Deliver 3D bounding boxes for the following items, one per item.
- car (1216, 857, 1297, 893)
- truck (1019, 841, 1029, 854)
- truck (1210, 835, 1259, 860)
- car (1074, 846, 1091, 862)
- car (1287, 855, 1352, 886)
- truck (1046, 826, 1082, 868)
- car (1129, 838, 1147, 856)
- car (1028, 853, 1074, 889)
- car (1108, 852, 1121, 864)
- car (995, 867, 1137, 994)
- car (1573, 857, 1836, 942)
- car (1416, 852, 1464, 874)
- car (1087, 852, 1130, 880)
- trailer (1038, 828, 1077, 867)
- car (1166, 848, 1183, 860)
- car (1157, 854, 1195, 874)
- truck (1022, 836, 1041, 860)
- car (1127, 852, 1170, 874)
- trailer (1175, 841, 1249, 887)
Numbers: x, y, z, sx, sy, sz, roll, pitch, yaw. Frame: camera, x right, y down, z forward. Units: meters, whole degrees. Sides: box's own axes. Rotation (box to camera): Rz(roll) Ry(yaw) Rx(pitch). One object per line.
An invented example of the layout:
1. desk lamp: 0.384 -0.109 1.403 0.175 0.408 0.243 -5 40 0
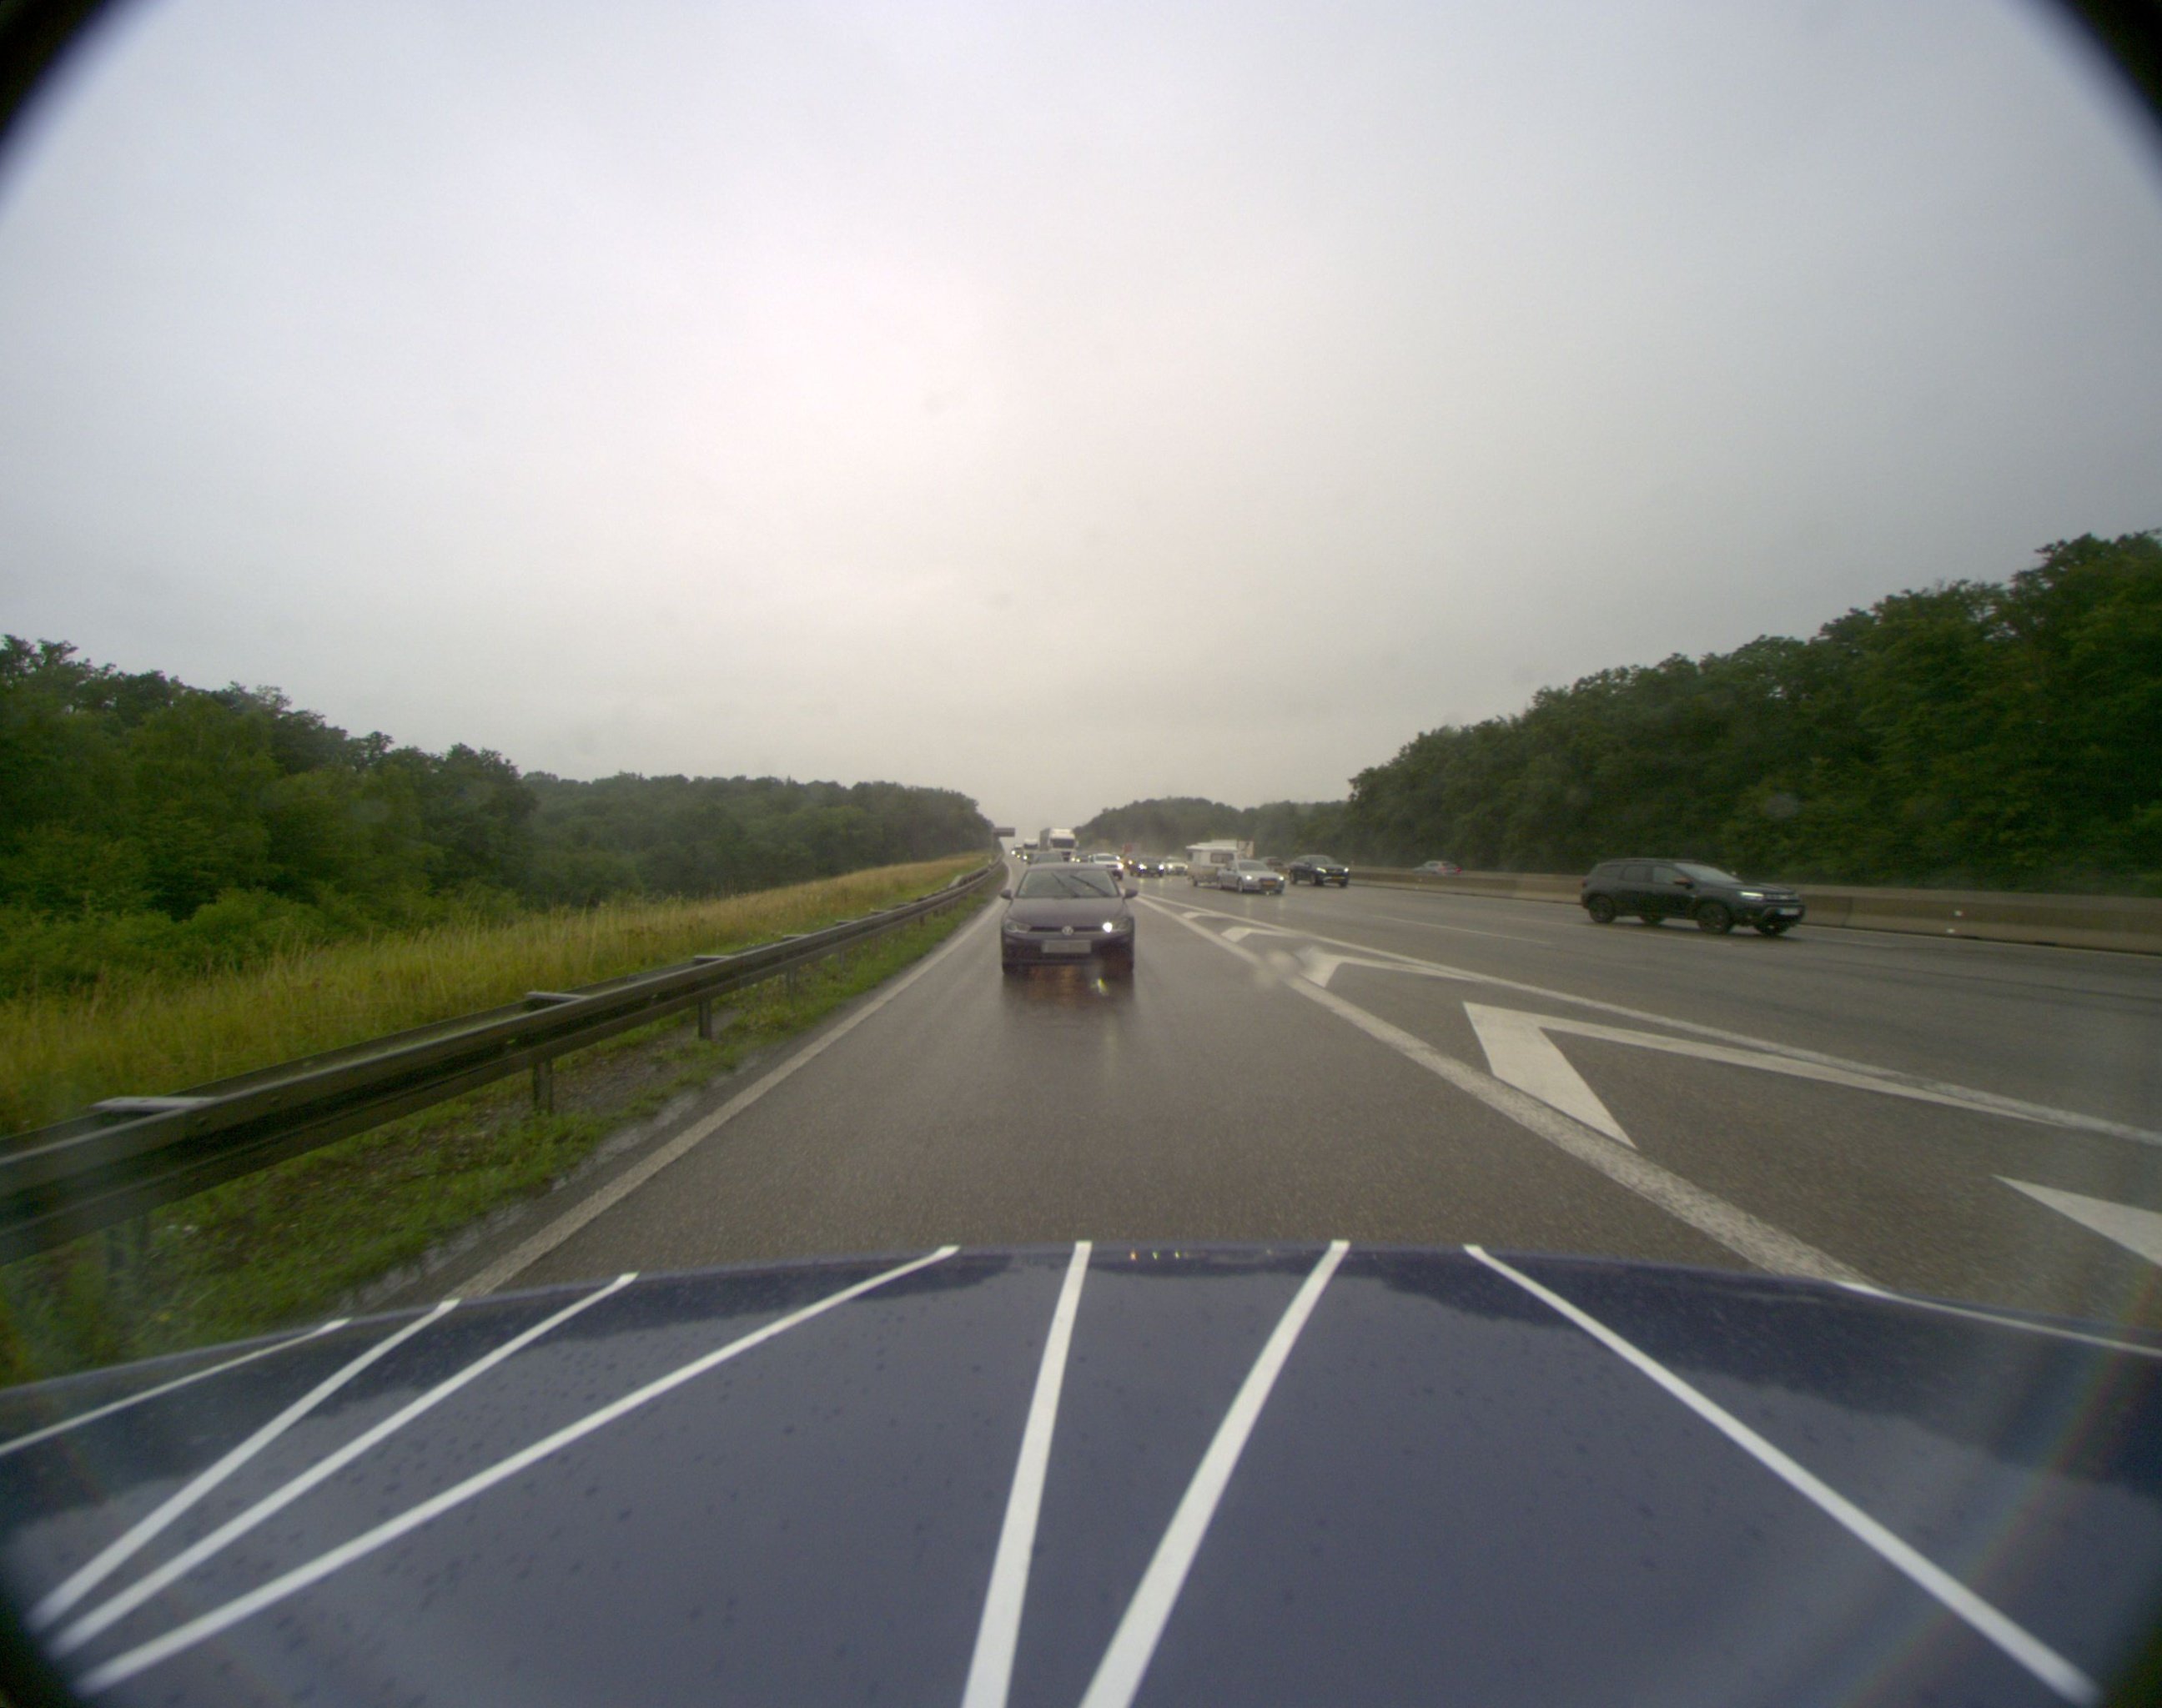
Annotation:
1. car: 7.495 0.861 32.963 1.852 1.340 4.578 2 0 -8
2. truck: -18.614 -2.064 248.086 2.597 4.120 5.230 -2 0 -1
3. truck: 23.795 -1.007 118.733 3.157 3.643 15.200 0 0 -6
4. car: 0.193 -0.011 93.764 1.816 2.002 3.998 0 0 -5
5. car: 13.628 0.902 43.623 1.710 1.566 4.521 2 0 -8
6. truck: -1.792 -0.699 76.397 2.882 4.029 5.930 1 0 -8
7. car: 15.466 -1.923 207.744 3.657 4.633 7.564 0 0 -6
8. car: -1.368 0.777 36.421 1.810 1.532 4.000 -3 0 2
9. car: 5.215 0.622 119.158 1.599 1.707 3.801 1 0 -4
10. car: -0.153 0.950 11.250 1.670 1.394 4.261 -2 0 1
11. car: 14.076 0.950 17.575 1.932 1.653 4.454 2 0 -11
12. car: 29.988 0.731 63.581 1.691 1.739 3.996 0 0 -9
13. car: 1.616 0.678 46.471 1.792 1.577 4.320 2 0 -8
14. trailer: -2.788 -0.680 84.221 2.904 3.959 14.108 1 0 -7
15. car: 16.154 0.009 131.609 1.999 2.002 4.663 0 0 -5
16. car: 7.662 0.761 61.584 1.886 1.472 4.499 1 0 -8
17. truck: -8.672 -0.991 132.992 2.759 3.984 6.503 1 0 -9
18. car: 4.795 0.635 54.517 1.886 1.472 4.497 1 0 -11
19. trailer: 6.633 0.472 39.143 2.136 2.143 5.175 2 0 -8
